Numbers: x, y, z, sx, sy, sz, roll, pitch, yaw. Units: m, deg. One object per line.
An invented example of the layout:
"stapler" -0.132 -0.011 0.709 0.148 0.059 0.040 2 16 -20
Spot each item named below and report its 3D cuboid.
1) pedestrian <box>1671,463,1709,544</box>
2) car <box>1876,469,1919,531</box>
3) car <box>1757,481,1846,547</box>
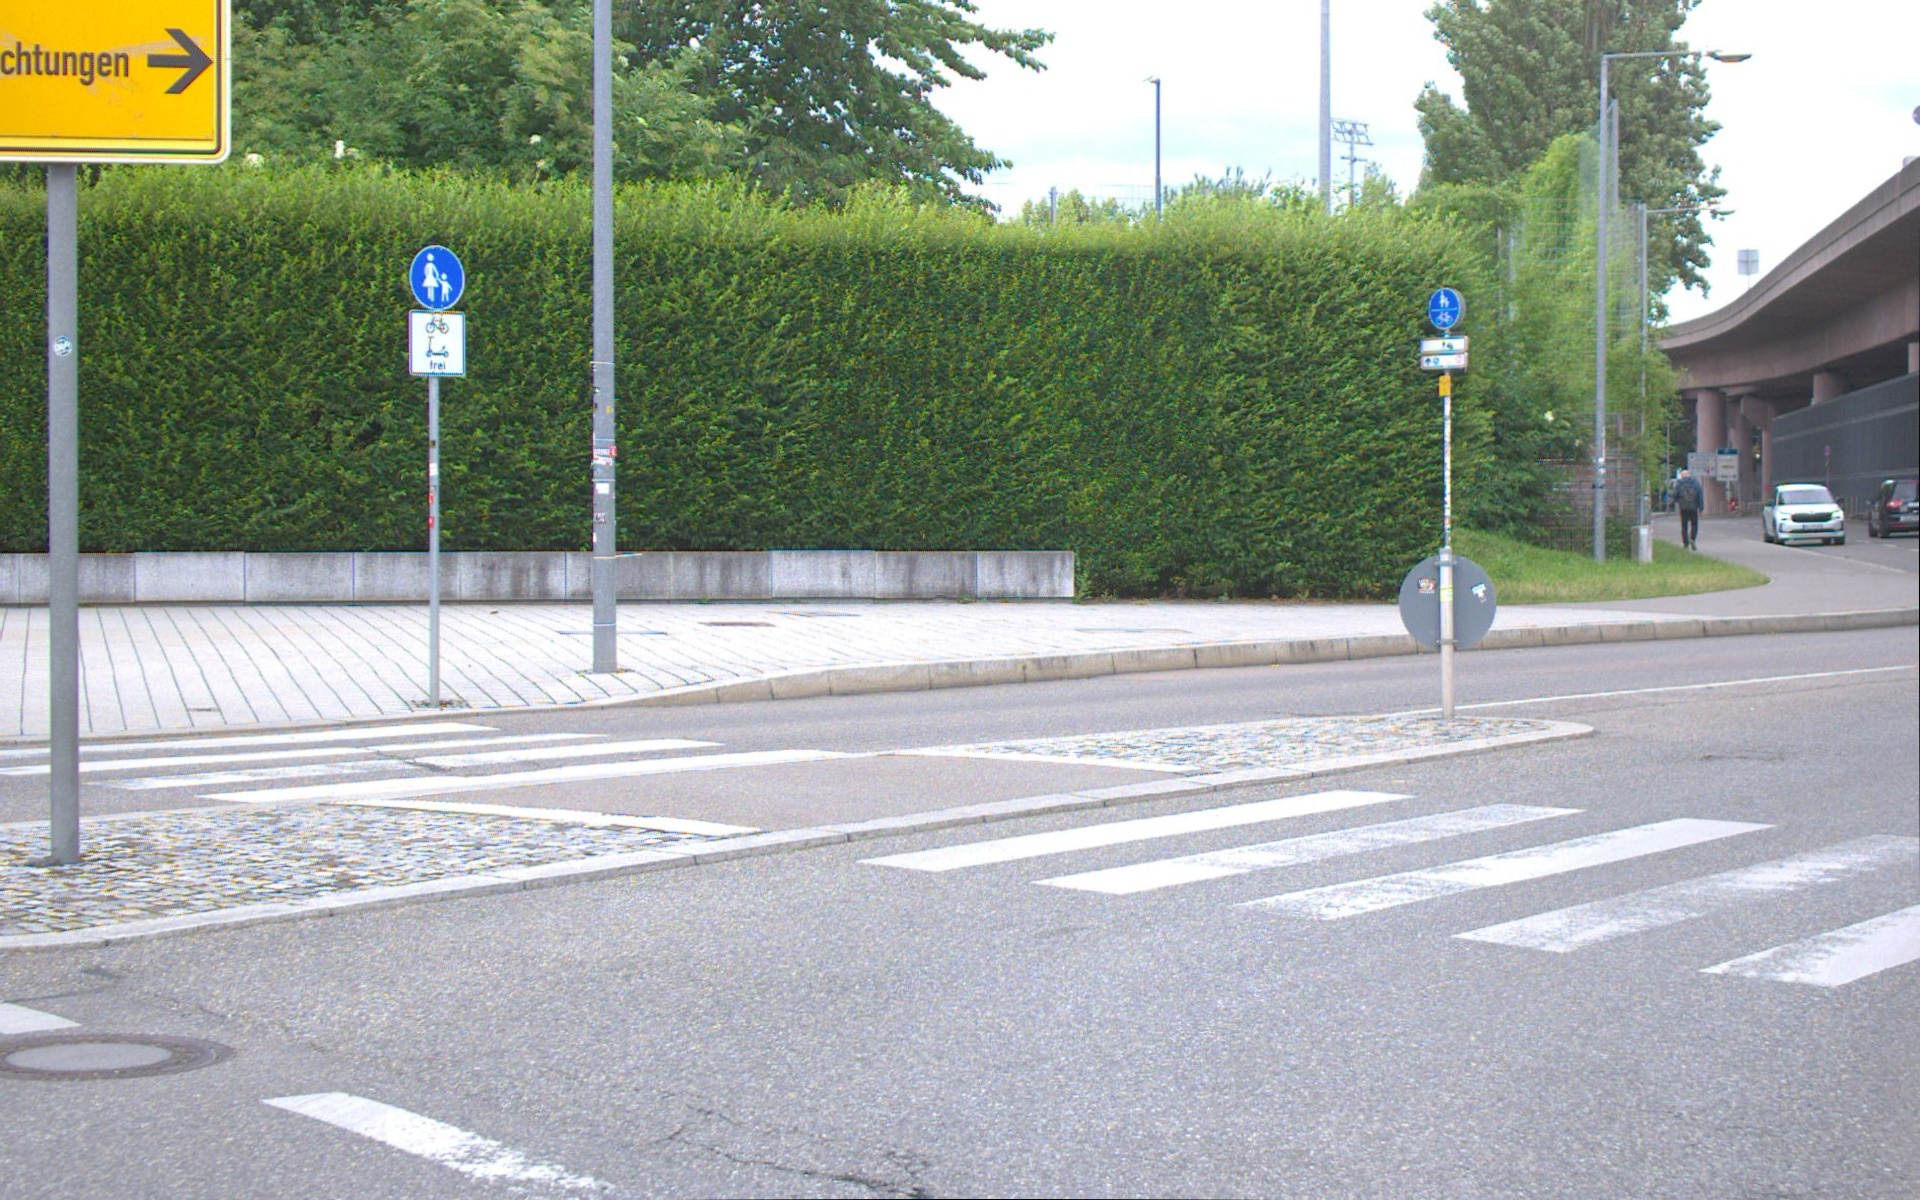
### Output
"pedestrian" 16.099 -2.130 75.832 0.804 1.774 0.920 0 3 12
"car" 27.666 -2.909 99.554 1.840 1.705 3.704 0 3 9
"car" 22.975 -2.381 93.997 1.865 1.677 4.405 0 3 7
